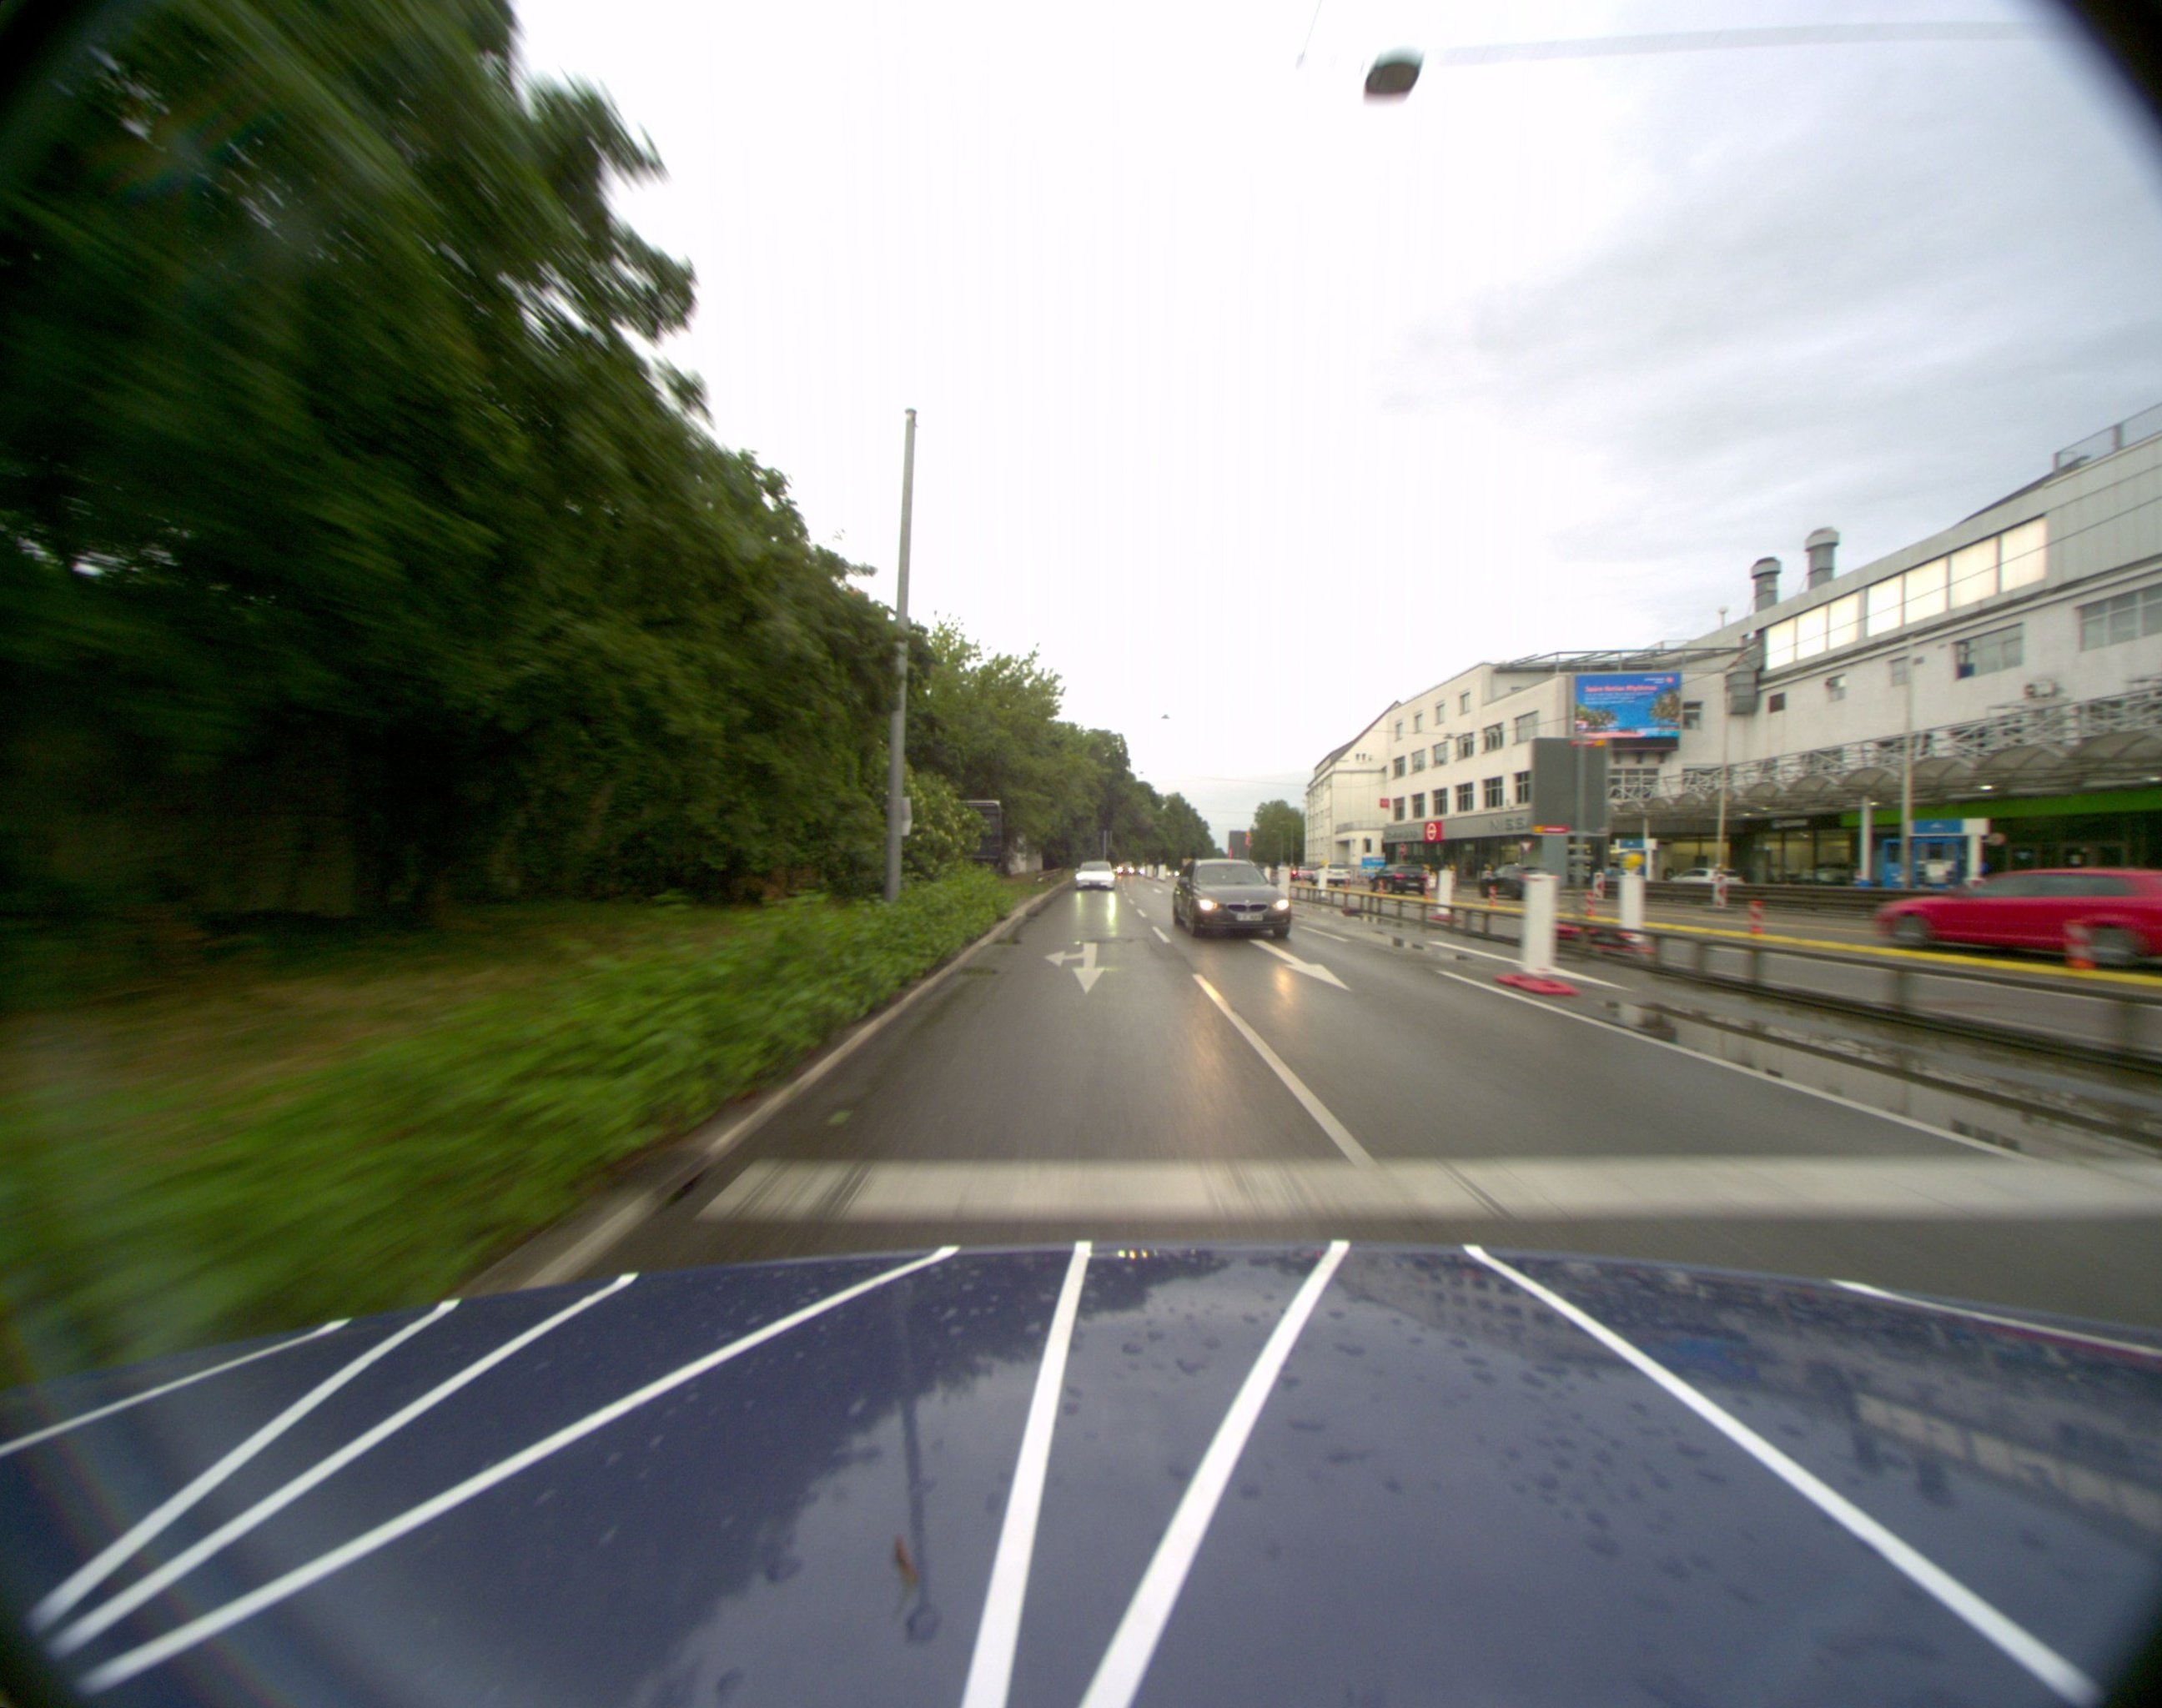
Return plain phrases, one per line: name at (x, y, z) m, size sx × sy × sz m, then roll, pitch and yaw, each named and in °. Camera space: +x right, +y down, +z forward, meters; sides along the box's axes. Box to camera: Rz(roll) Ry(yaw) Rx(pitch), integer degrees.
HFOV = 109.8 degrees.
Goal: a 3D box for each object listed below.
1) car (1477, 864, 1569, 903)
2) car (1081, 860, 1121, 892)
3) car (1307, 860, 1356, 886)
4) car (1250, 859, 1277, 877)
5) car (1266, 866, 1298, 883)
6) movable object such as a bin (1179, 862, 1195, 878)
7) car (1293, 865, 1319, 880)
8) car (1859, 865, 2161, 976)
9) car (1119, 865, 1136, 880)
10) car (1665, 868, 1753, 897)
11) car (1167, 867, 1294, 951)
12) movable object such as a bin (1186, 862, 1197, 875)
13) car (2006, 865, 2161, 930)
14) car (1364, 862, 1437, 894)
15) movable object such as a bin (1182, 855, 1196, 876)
car at (19.421, 1.251, 33.569) m, size 1.714 × 1.527 × 4.078 m, roll 1°, pitch 0°, yaw 1°
car at (0.998, 1.072, 38.177) m, size 1.839 × 1.424 × 4.273 m, roll 2°, pitch 0°, yaw 1°
car at (17.213, 1.252, 52.355) m, size 1.943 × 1.679 × 4.581 m, roll 1°, pitch 0°, yaw 2°
car at (21.006, 1.580, 87.547) m, size 1.998 × 1.925 × 5.232 m, roll 2°, pitch 0°, yaw 2°
car at (19.109, 1.948, 72.441) m, size 1.855 × 1.457 × 4.708 m, roll 1°, pitch 0°, yaw 2°
movable object such as a bin at (14.607, 2.136, 104.163) m, size 1.997 × 2.099 × 3.853 m, roll 1°, pitch -1°, yaw 10°
car at (24.900, 2.008, 84.345) m, size 1.751 × 1.575 × 4.266 m, roll 1°, pitch 0°, yaw 3°
car at (15.058, 0.899, 11.735) m, size 1.740 × 1.396 × 4.289 m, roll 0°, pitch 0°, yaw 1°
car at (5.799, 2.272, 95.028) m, size 1.998 × 1.739 × 4.001 m, roll 1°, pitch 0°, yaw 3°
car at (35.106, 1.561, 42.623) m, size 1.817 × 1.474 × 3.969 m, roll 1°, pitch 0°, yaw 4°
car at (2.850, 0.994, 15.338) m, size 1.764 × 1.441 × 4.178 m, roll 0°, pitch -1°, yaw 0°
movable object such as a bin at (16.919, 2.228, 116.347) m, size 1.398 × 2.032 × 4.090 m, roll 1°, pitch -1°, yaw 10°
car at (30.800, 1.274, 22.248) m, size 4.432 × 1.760 × 1.972 m, roll 2°, pitch 0°, yaw 42°
car at (16.176, 1.168, 38.729) m, size 1.964 × 1.512 × 4.301 m, roll 1°, pitch 0°, yaw 2°
movable object such as a bin at (15.567, 1.630, 109.395) m, size 1.825 × 2.894 × 3.611 m, roll 2°, pitch -1°, yaw 10°
